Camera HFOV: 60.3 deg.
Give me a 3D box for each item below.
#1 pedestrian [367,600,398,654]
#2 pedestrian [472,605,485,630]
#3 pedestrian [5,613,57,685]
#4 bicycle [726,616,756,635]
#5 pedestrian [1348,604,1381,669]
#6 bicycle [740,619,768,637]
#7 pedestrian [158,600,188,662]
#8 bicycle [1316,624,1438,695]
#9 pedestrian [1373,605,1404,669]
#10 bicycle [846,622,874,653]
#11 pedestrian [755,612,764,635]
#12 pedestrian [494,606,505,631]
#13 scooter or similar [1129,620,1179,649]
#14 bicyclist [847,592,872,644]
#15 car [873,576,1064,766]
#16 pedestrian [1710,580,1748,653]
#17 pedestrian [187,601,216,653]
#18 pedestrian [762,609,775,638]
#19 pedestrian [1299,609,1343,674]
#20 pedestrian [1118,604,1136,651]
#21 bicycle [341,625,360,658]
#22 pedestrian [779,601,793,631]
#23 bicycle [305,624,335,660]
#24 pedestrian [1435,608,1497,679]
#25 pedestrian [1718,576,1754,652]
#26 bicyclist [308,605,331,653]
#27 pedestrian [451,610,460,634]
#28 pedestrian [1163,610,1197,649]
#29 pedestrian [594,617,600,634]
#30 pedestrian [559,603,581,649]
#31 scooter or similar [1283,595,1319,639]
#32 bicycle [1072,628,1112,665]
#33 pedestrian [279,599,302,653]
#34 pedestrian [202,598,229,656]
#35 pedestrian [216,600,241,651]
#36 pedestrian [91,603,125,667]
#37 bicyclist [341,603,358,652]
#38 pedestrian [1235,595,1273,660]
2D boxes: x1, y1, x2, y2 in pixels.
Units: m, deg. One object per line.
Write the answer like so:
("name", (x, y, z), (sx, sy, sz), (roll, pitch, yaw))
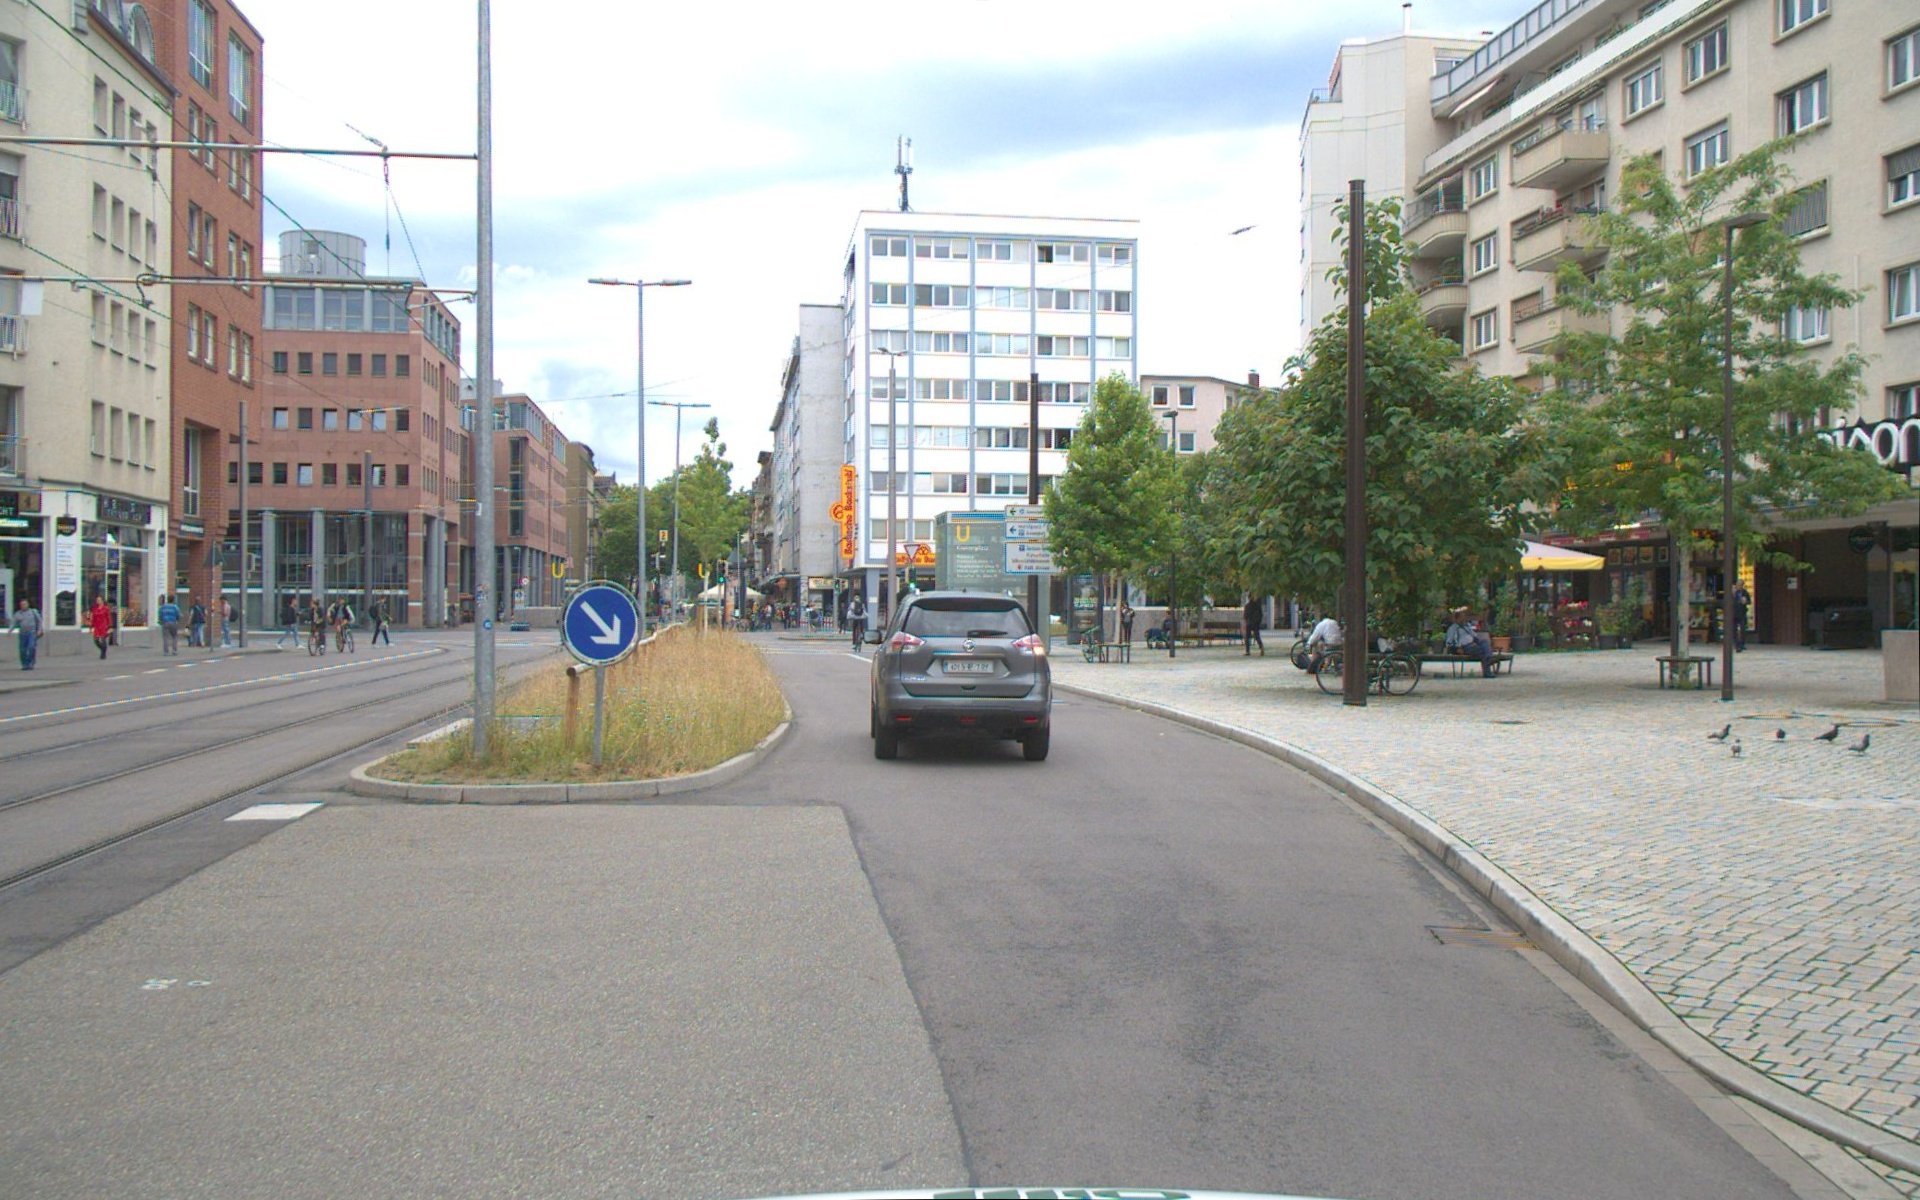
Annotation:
("pedestrian", (-20.740, 0.984, 59.456), (0.880, 1.923, 0.797), (2, -2, -11))
("pedestrian", (-36.966, 1.362, 126.953), (0.725, 1.874, 0.694), (2, -1, -33))
("pedestrian", (-22.439, 1.175, 39.946), (0.705, 1.717, 0.825), (-1, -2, 11))
("bicycle", (-13.754, 1.601, 103.873), (1.842, 1.192, 0.527), (1, -1, -23))
("pedestrian", (8.821, 0.793, 36.097), (0.614, 1.390, 0.920), (1, -1, 9))
("bicycle", (-12.879, 1.742, 103.585), (1.672, 1.084, 0.434), (1, -1, -22))
("pedestrian", (-22.255, 0.877, 46.767), (0.649, 1.717, 0.719), (0, -2, -18))
("bicycle", (6.997, 0.988, 27.803), (1.874, 1.142, 0.645), (1, -1, 2))
("pedestrian", (9.486, 0.818, 36.651), (0.531, 1.390, 1.281), (1, -1, 9))
("bicycle", (-3.626, 1.340, 59.641), (0.884, 1.063, 3.273), (0, -1, -6))
("pedestrian", (-15.243, 1.813, 125.797), (0.631, 1.735, 0.558), (1, -1, -8))
("pedestrian", (-35.207, 1.421, 126.516), (0.721, 1.874, 0.698), (1, -1, -21))
("scooter or similar", (6.753, 1.189, 57.524), (1.557, 0.965, 0.724), (-2, -1, 30))
("bicyclist", (-3.610, 0.661, 59.532), (0.818, 1.844, 0.876), (1, -1, -6))
("car", (-0.031, 0.723, 18.284), (1.826, 1.806, 4.563), (-1, -1, -3))
("pedestrian", (19.143, 0.417, 41.184), (0.759, 1.782, 0.716), (-2, 0, 30))
("pedestrian", (-25.272, 0.897, 55.106), (0.857, 1.717, 0.657), (0, -2, -23))
("pedestrian", (-11.963, 1.461, 103.242), (0.720, 1.776, 0.660), (1, -1, -17))
("pedestrian", (7.801, 0.897, 35.744), (0.620, 1.390, 0.681), (1, -1, -27))
("pedestrian", (6.501, 1.077, 64.410), (0.657, 1.792, 0.642), (1, -1, 7))
("bicycle", (-19.684, 1.340, 53.433), (0.470, 1.039, 1.898), (0, -1, -23))
("pedestrian", (-10.983, 1.018, 104.438), (0.701, 1.864, 1.012), (1, -1, -16))
("bicycle", (-19.159, 1.259, 49.501), (0.470, 1.039, 1.907), (0, -1, -10))
("pedestrian", (10.141, 0.863, 33.208), (0.616, 1.390, 1.406), (1, -1, -9))
("pedestrian", (19.935, 0.368, 42.492), (0.759, 1.918, 0.851), (0, -1, 30))
("bicyclist", (-19.187, 0.860, 49.557), (0.470, 1.431, 0.810), (0, -1, -10))
("pedestrian", (-32.116, 1.400, 105.221), (0.443, 1.559, 0.518), (1, -1, -26))
("pedestrian", (7.622, 1.025, 57.254), (1.023, 1.320, 0.732), (-2, -1, -4))
("pedestrian", (-37.636, 2.661, 171.426), (0.590, 1.744, 0.653), (1, -1, -16))
("pedestrian", (-14.696, 0.972, 62.321), (0.731, 1.713, 0.796), (2, -2, -13))
("scooter or similar", (14.408, 0.701, 69.960), (1.061, 1.838, 2.274), (0, 0, 0))
("bicycle", (3.659, 1.276, 45.733), (0.644, 0.995, 1.755), (0, -1, 20))
("pedestrian", (-24.121, 0.929, 59.592), (0.599, 1.923, 0.797), (0, -2, -11))
("pedestrian", (-22.018, 0.806, 48.916), (0.650, 1.717, 0.718), (0, -2, -21))
("pedestrian", (-24.888, 0.875, 56.294), (0.559, 1.713, 0.796), (2, -2, -13))
("pedestrian", (-22.740, 0.936, 44.160), (0.709, 1.717, 0.658), (0, -2, -19))
("bicyclist", (-19.802, 0.890, 53.671), (0.484, 1.567, 0.806), (0, -1, -22))
("pedestrian", (8.602, 0.800, 48.364), (0.700, 1.834, 1.075), (-2, -1, -10))
